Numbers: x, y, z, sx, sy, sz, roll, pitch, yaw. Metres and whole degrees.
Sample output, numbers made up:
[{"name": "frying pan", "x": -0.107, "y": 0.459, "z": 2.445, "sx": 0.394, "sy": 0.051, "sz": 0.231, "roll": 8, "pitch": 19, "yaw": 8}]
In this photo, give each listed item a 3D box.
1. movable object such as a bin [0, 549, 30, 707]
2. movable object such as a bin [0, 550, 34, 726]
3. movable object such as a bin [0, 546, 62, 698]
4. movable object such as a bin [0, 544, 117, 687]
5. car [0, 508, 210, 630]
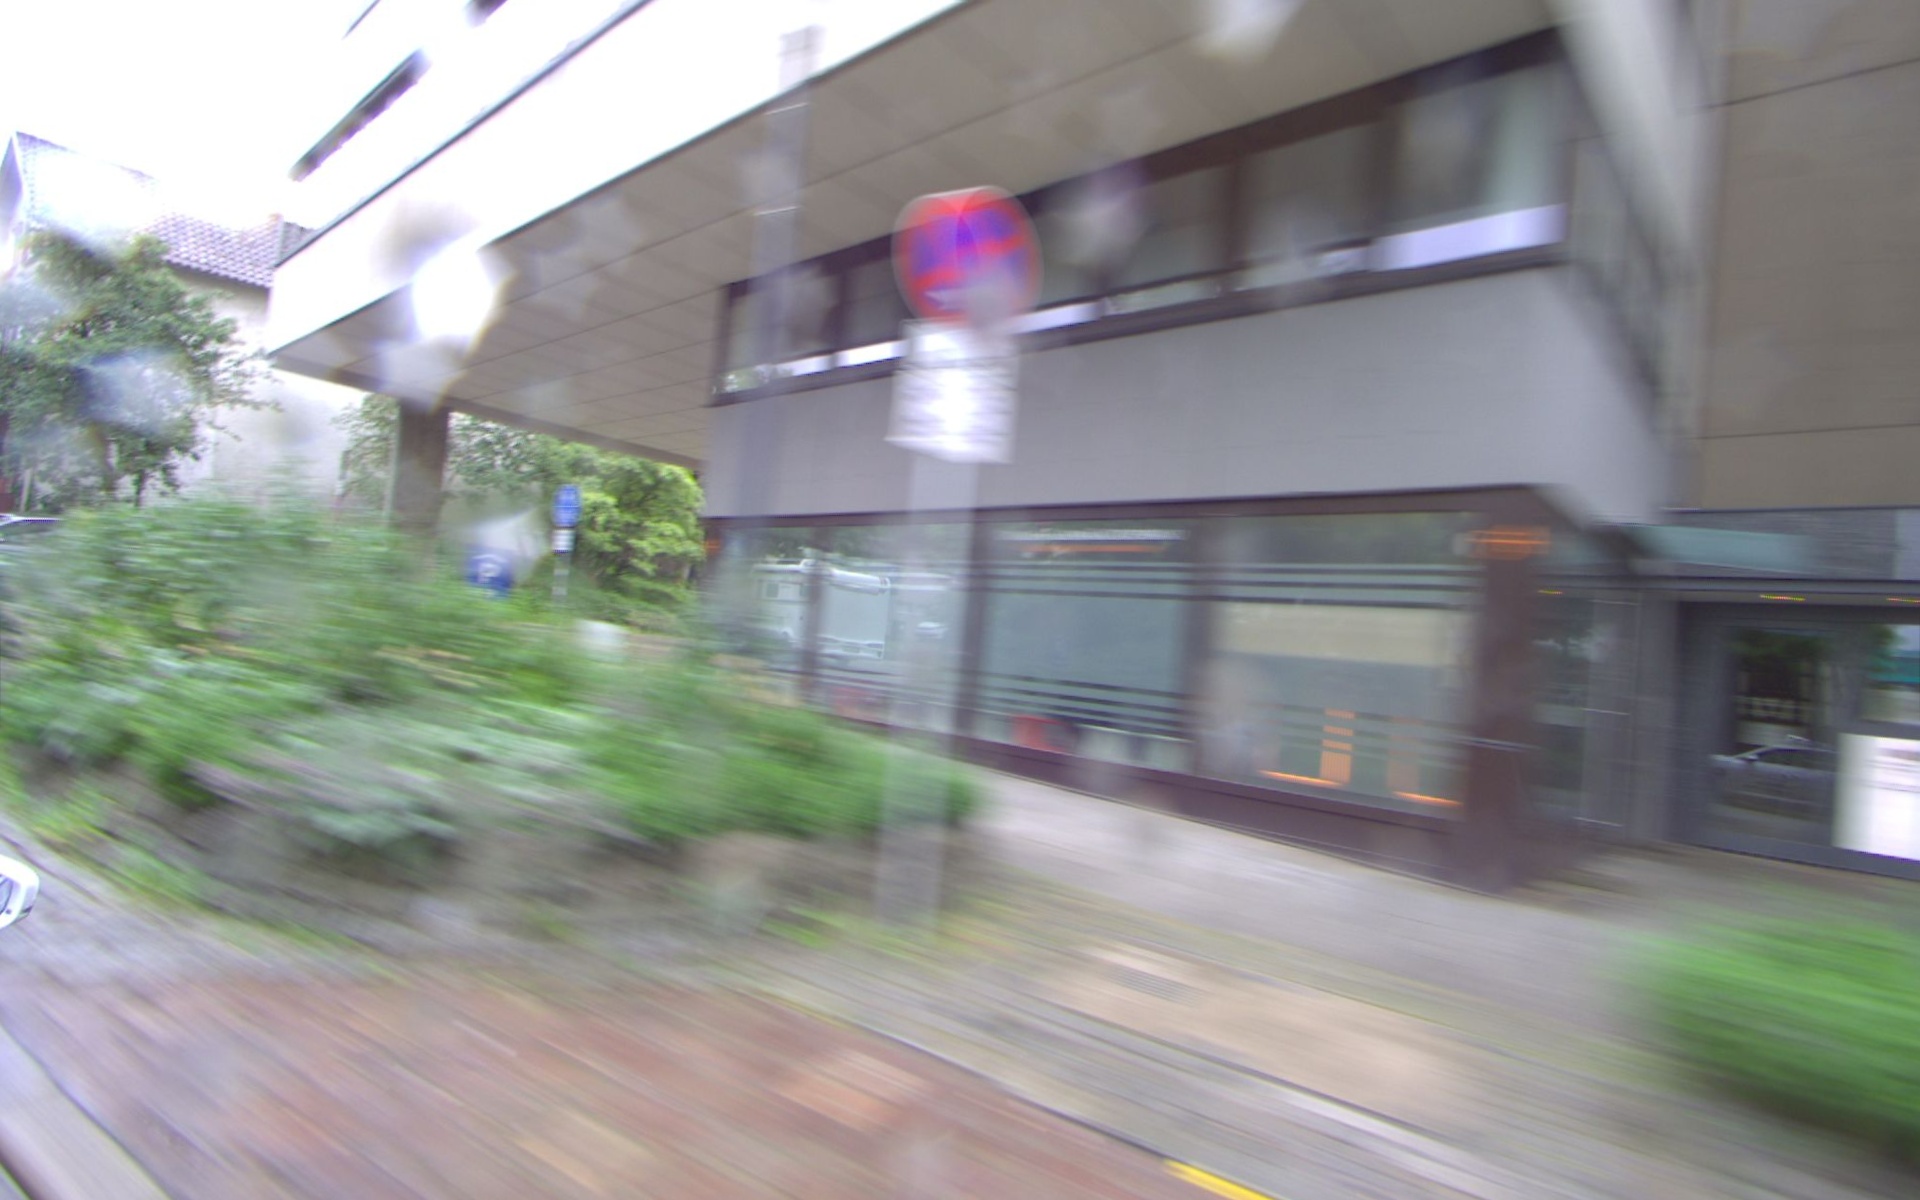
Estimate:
[{"name": "movable object such as a bin", "x": -7.118, "y": 0.172, "z": 7.043, "sx": 0.698, "sy": 1.120, "sz": 0.567, "roll": 6, "pitch": -1, "yaw": -30}, {"name": "movable object such as a bin", "x": -6.633, "y": 0.214, "z": 6.606, "sx": 0.701, "sy": 1.138, "sz": 0.565, "roll": 6, "pitch": -1, "yaw": -41}, {"name": "movable object such as a bin", "x": -7.484, "y": 0.144, "z": 7.726, "sx": 0.698, "sy": 1.124, "sz": 0.567, "roll": 6, "pitch": -1, "yaw": -32}, {"name": "movable object such as a bin", "x": -7.739, "y": 0.126, "z": 8.486, "sx": 0.694, "sy": 1.116, "sz": 0.570, "roll": 6, "pitch": -1, "yaw": -14}, {"name": "car", "x": -13.710, "y": -0.580, "z": 14.409, "sx": 1.810, "sy": 1.432, "sz": 4.293, "roll": 7, "pitch": -3, "yaw": 32}]
